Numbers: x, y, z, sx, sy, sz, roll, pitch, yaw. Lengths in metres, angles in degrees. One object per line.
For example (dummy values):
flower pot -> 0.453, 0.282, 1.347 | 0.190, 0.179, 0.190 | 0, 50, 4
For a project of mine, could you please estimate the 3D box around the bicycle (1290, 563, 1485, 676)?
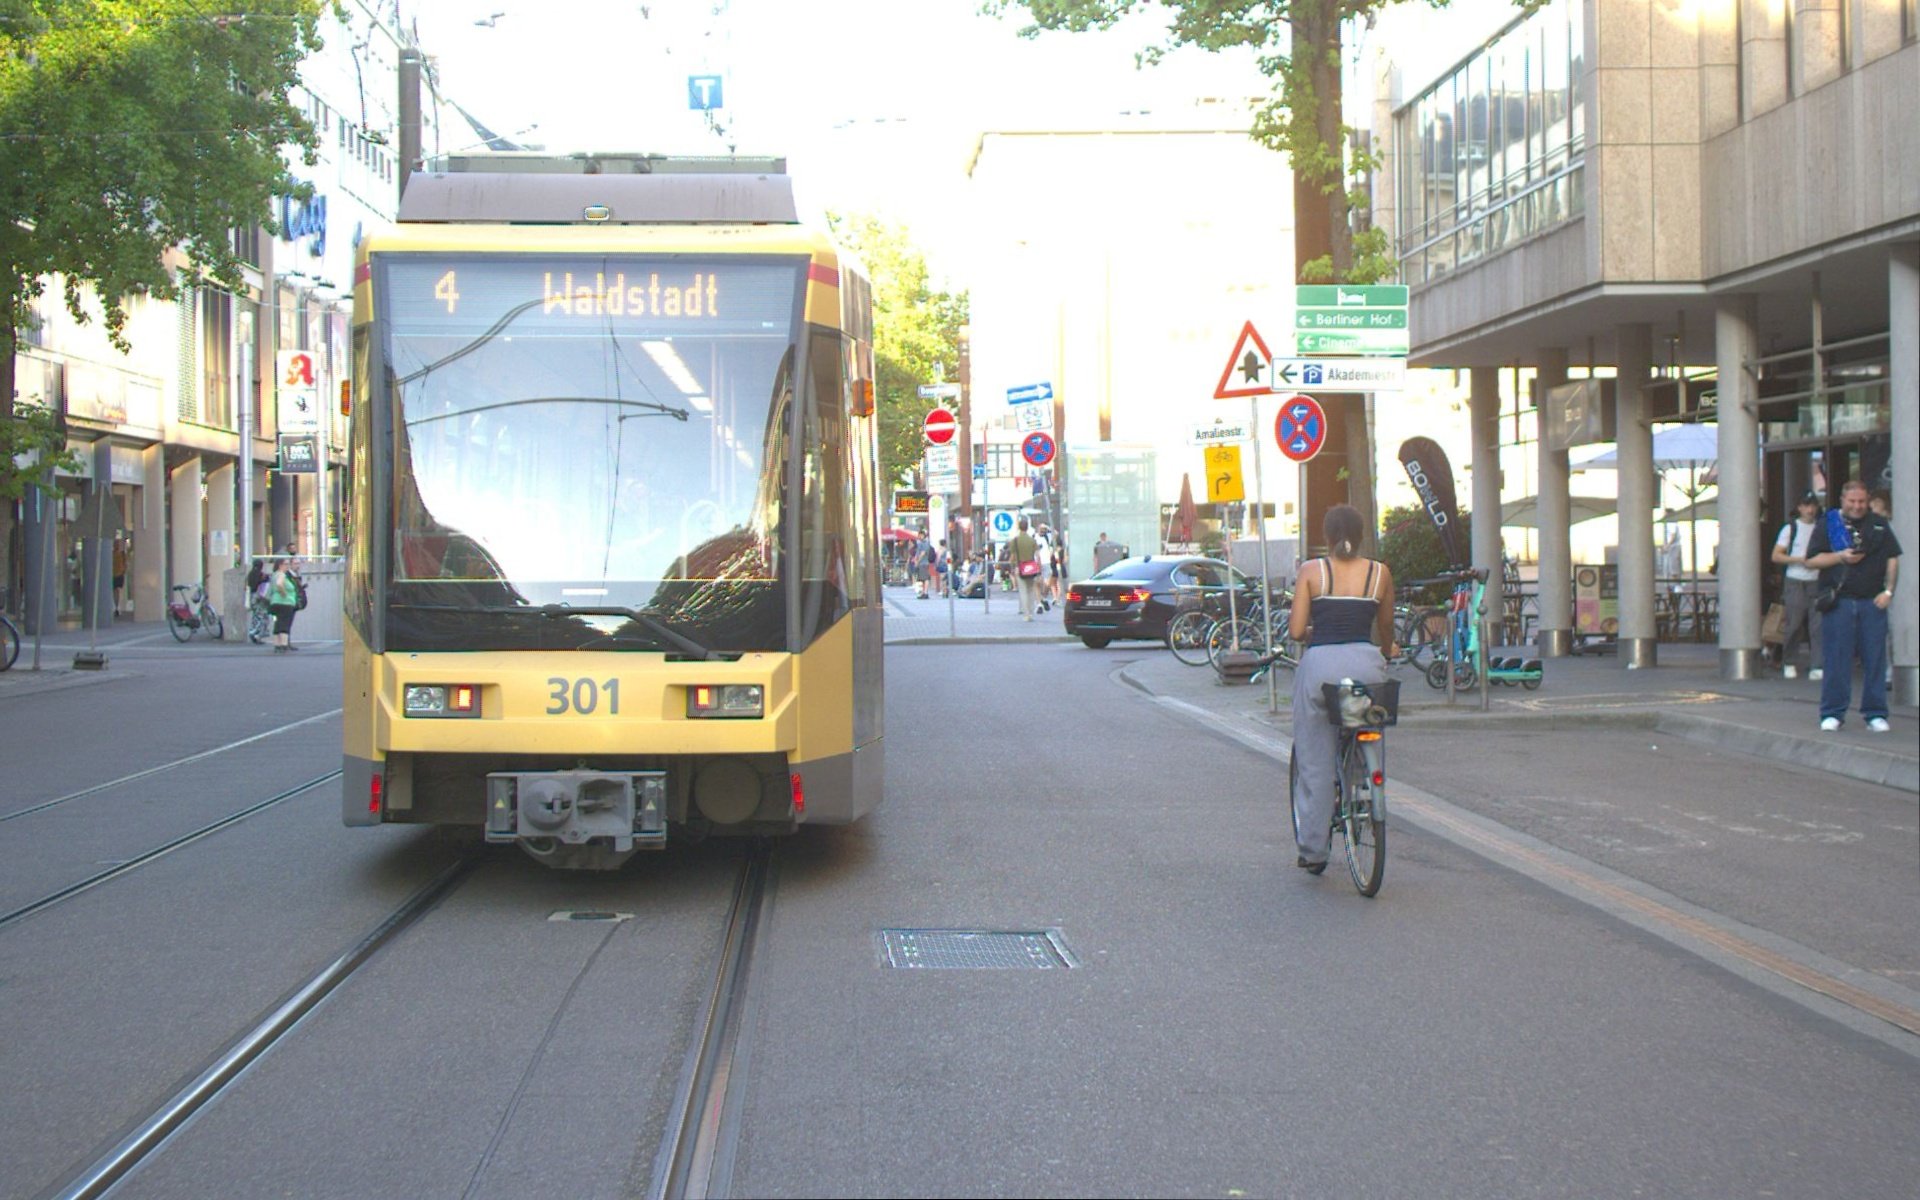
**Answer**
bicycle -> 4.762, 0.205, 38.338 | 1.995, 1.151, 0.726 | -3, 1, -6

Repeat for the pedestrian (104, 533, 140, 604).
pedestrian -> -20.228, -0.757, 83.002 | 0.713, 1.719, 0.709 | -1, 0, -3

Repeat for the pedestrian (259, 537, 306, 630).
pedestrian -> -11.342, -0.274, 57.592 | 0.684, 1.536, 0.605 | -1, 0, -4

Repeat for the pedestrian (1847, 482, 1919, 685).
pedestrian -> 8.373, -0.154, 31.007 | 0.539, 1.800, 0.604 | -1, 1, -3

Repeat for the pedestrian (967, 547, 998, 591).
pedestrian -> 0.625, -0.873, 96.289 | 0.792, 1.217, 0.769 | 0, 1, -5

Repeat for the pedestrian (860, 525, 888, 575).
pedestrian -> -2.830, -1.644, 112.946 | 0.767, 1.655, 0.794 | 0, 1, 10

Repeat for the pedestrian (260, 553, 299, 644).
pedestrian -> -11.243, -0.032, 56.775 | 0.603, 1.489, 0.555 | -1, 0, -10

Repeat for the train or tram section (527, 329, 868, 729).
train or tram section -> -2.466, -0.731, 35.868 | 2.800, 3.308, 14.510 | 0, 1, -2

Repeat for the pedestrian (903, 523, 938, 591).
pedestrian -> -1.070, -1.173, 93.186 | 0.733, 1.817, 0.820 | 0, 1, -16

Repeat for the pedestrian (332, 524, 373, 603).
pedestrian -> -13.379, -0.802, 75.720 | 0.605, 1.719, 0.626 | -1, 0, 45

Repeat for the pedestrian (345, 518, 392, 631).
pedestrian -> -10.219, -0.441, 59.390 | 0.773, 1.919, 0.709 | -1, 0, -10

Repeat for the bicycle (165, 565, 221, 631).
bicycle -> -13.755, -0.040, 61.666 | 0.498, 1.104, 1.800 | 0, 2, 3

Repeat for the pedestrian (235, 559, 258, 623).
pedestrian -> -17.192, -0.219, 82.863 | 0.508, 1.542, 0.518 | -1, 0, -10

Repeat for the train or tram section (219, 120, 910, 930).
train or tram section -> -1.901, -0.453, 21.375 | 2.800, 3.308, 14.510 | 0, 1, -2

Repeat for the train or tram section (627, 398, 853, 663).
train or tram section -> -3.037, -1.011, 50.335 | 2.800, 3.308, 14.510 | 0, 1, -2

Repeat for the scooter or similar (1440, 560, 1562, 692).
scooter or similar -> 5.346, 0.250, 33.961 | 1.112, 1.247, 0.497 | -2, 2, -32

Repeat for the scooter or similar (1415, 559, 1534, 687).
scooter or similar -> 5.216, 0.227, 34.813 | 1.187, 1.247, 0.393 | -2, 2, -31

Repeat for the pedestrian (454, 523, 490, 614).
pedestrian -> -10.379, -0.670, 73.146 | 0.713, 1.918, 0.709 | -1, 0, -7

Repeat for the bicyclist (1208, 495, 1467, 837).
bicyclist -> 1.703, 0.284, 15.651 | 0.997, 1.497, 0.857 | 1, 1, -4

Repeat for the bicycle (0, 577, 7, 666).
bicycle -> -12.170, 0.233, 40.455 | 1.772, 1.041, 0.489 | 1, 1, -2

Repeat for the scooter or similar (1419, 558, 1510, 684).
scooter or similar -> 5.197, 0.208, 35.394 | 0.393, 1.247, 1.189 | 0, 2, 37

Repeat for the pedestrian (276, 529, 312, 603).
pedestrian -> -15.604, -0.799, 80.547 | 0.713, 1.719, 0.709 | -1, 0, -3

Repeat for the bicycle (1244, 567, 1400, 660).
bicycle -> 4.593, 0.163, 43.683 | 1.852, 1.105, 0.667 | -2, 1, -4

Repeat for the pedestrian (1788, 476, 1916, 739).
pedestrian -> 6.357, 0.047, 24.528 | 0.668, 1.833, 0.708 | -1, 1, -2

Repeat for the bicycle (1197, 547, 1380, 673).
bicycle -> 3.740, 0.104, 39.236 | 1.914, 1.328, 0.726 | -3, 1, -6

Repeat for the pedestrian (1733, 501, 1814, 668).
pedestrian -> 8.842, -0.168, 37.371 | 0.663, 1.780, 0.719 | -1, 0, -1

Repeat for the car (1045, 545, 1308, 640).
car -> 3.355, -0.110, 52.801 | 4.041, 1.404, 1.774 | 0, 0, -44

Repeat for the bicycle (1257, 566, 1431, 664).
bicycle -> 4.616, 0.171, 41.347 | 1.914, 1.074, 0.763 | -3, 1, -6

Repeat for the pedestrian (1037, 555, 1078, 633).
pedestrian -> 2.290, -0.145, 80.812 | 0.733, 1.817, 0.820 | 0, 1, -16

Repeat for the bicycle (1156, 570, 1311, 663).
bicycle -> 3.457, 0.199, 43.516 | 1.852, 1.105, 0.667 | -2, 1, -4

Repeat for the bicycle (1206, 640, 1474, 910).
bicycle -> 1.691, 0.757, 15.673 | 0.815, 1.069, 2.114 | 1, 1, -4

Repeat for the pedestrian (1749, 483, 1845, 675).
pedestrian -> 8.161, -0.209, 33.551 | 0.668, 1.833, 0.880 | -1, 1, -2

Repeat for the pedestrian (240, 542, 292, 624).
pedestrian -> -12.164, -0.296, 60.281 | 0.555, 1.429, 0.684 | -1, 0, 36

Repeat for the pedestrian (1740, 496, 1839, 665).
pedestrian -> 8.601, -0.201, 35.664 | 0.763, 1.713, 0.923 | -1, 0, -1

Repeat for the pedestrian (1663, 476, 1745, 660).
pedestrian -> 8.261, -0.361, 38.201 | 0.686, 2.007, 0.783 | -1, 1, -1

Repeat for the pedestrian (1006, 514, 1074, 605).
pedestrian -> 1.636, -0.834, 70.764 | 1.013, 1.857, 1.043 | 0, 0, -27

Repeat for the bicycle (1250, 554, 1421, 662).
bicycle -> 4.594, 0.088, 42.093 | 1.914, 1.218, 0.763 | -3, 1, -6

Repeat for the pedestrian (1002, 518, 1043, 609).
pedestrian -> 1.186, -0.695, 65.291 | 0.718, 1.719, 0.709 | -1, 0, -1
